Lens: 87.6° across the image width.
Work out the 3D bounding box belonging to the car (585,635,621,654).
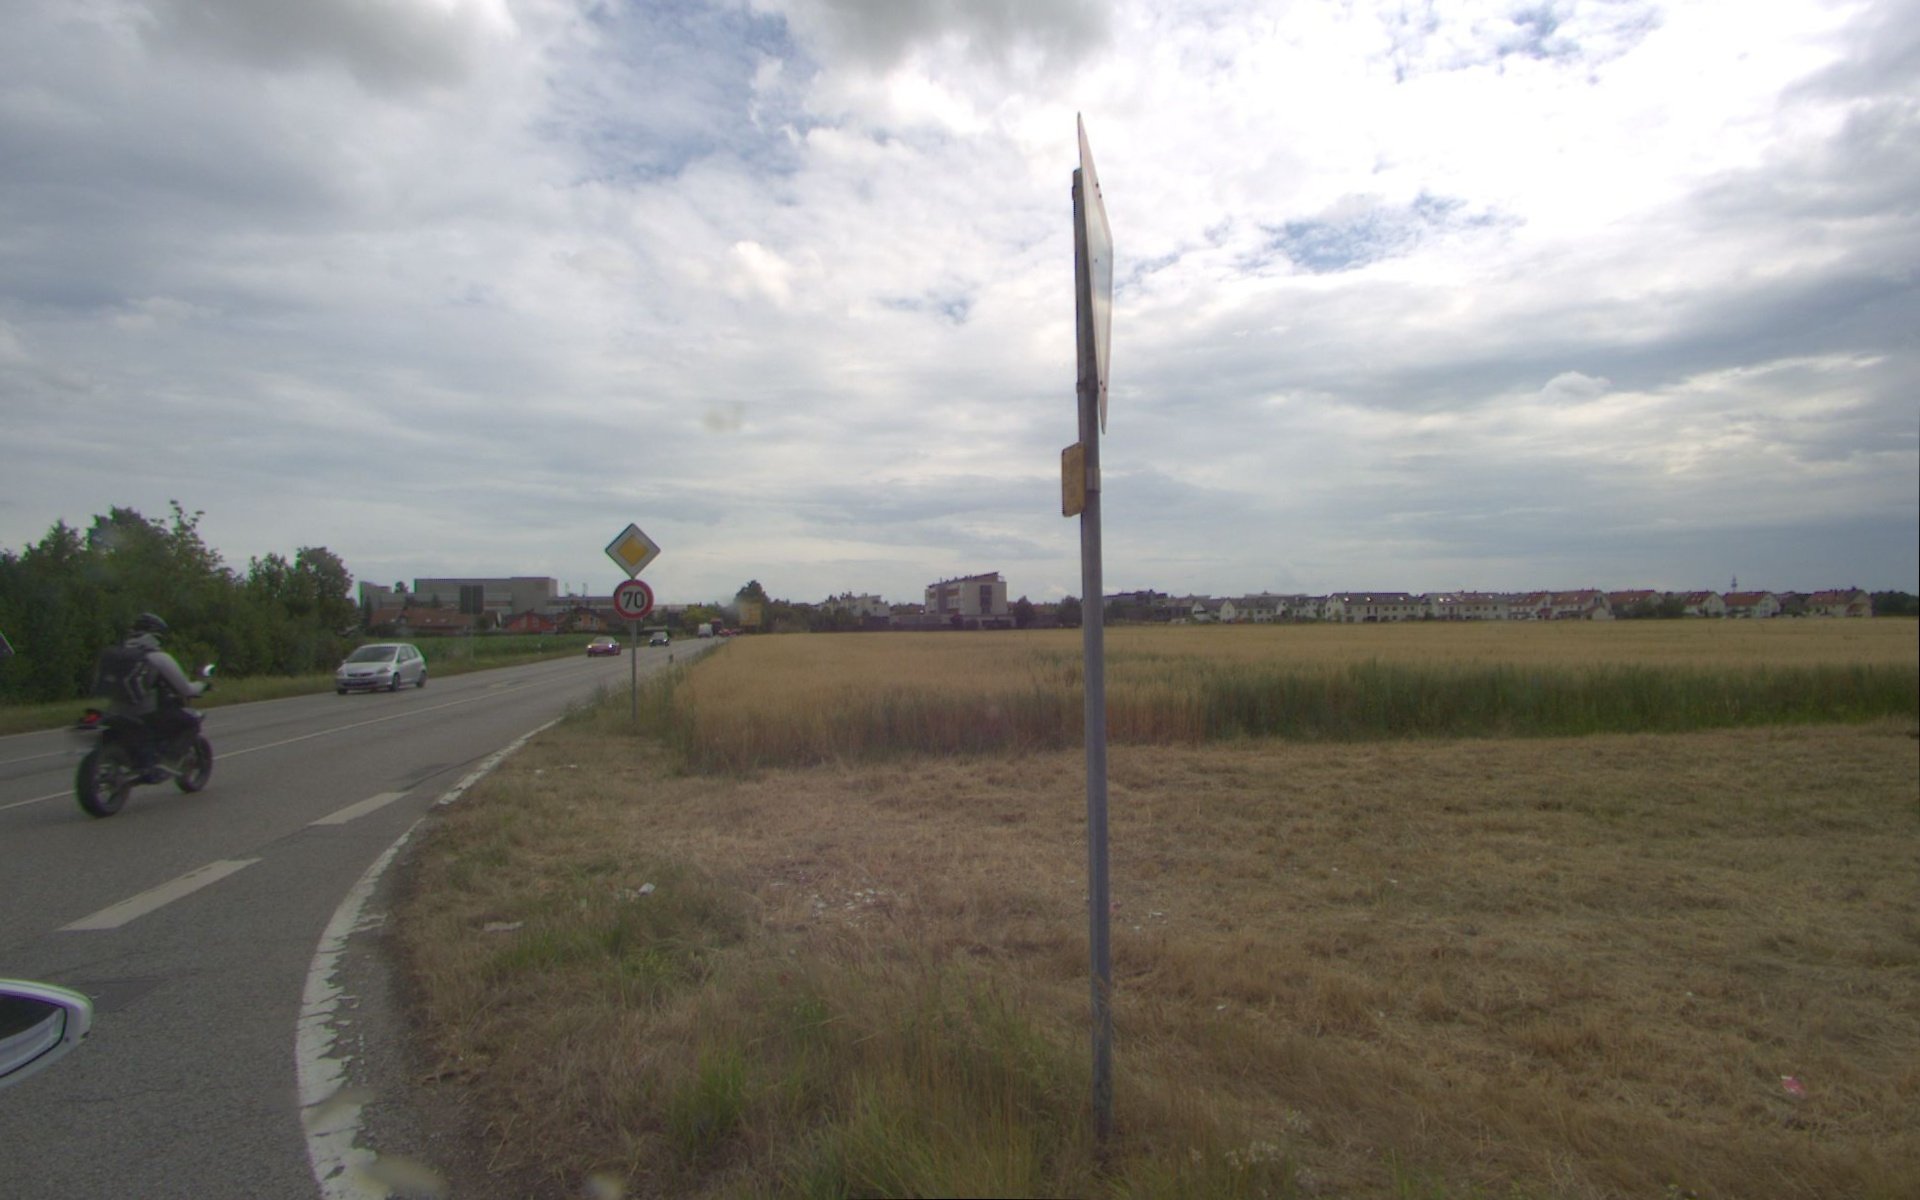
[{"bbox_3d":[-25.145,3.122,70.665,1.744,1.257,4.209,-1,-1,-11],"label":"car"}]

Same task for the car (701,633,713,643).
[{"bbox_3d":[-47.043,7.033,186.200,1.963,1.721,4.673,-1,-1,-11],"label":"car"}]

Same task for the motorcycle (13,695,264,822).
[{"bbox_3d":[-7.618,1.427,9.457,0.926,0.901,2.145,0,-2,-11],"label":"motorcycle"}]

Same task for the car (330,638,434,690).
[{"bbox_3d":[-18.419,1.988,32.093,1.703,1.450,3.932,-2,-1,-12],"label":"car"}]

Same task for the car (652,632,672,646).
[{"bbox_3d":[-31.906,4.172,107.160,1.643,1.447,4.300,-2,-1,-12],"label":"car"}]

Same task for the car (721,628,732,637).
[{"bbox_3d":[-44.413,6.174,190.391,1.829,1.586,3.999,-1,-1,-9],"label":"car"}]

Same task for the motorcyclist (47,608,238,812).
[{"bbox_3d":[-7.609,0.976,9.394,0.927,1.772,1.200,0,-1,-11],"label":"motorcyclist"}]
